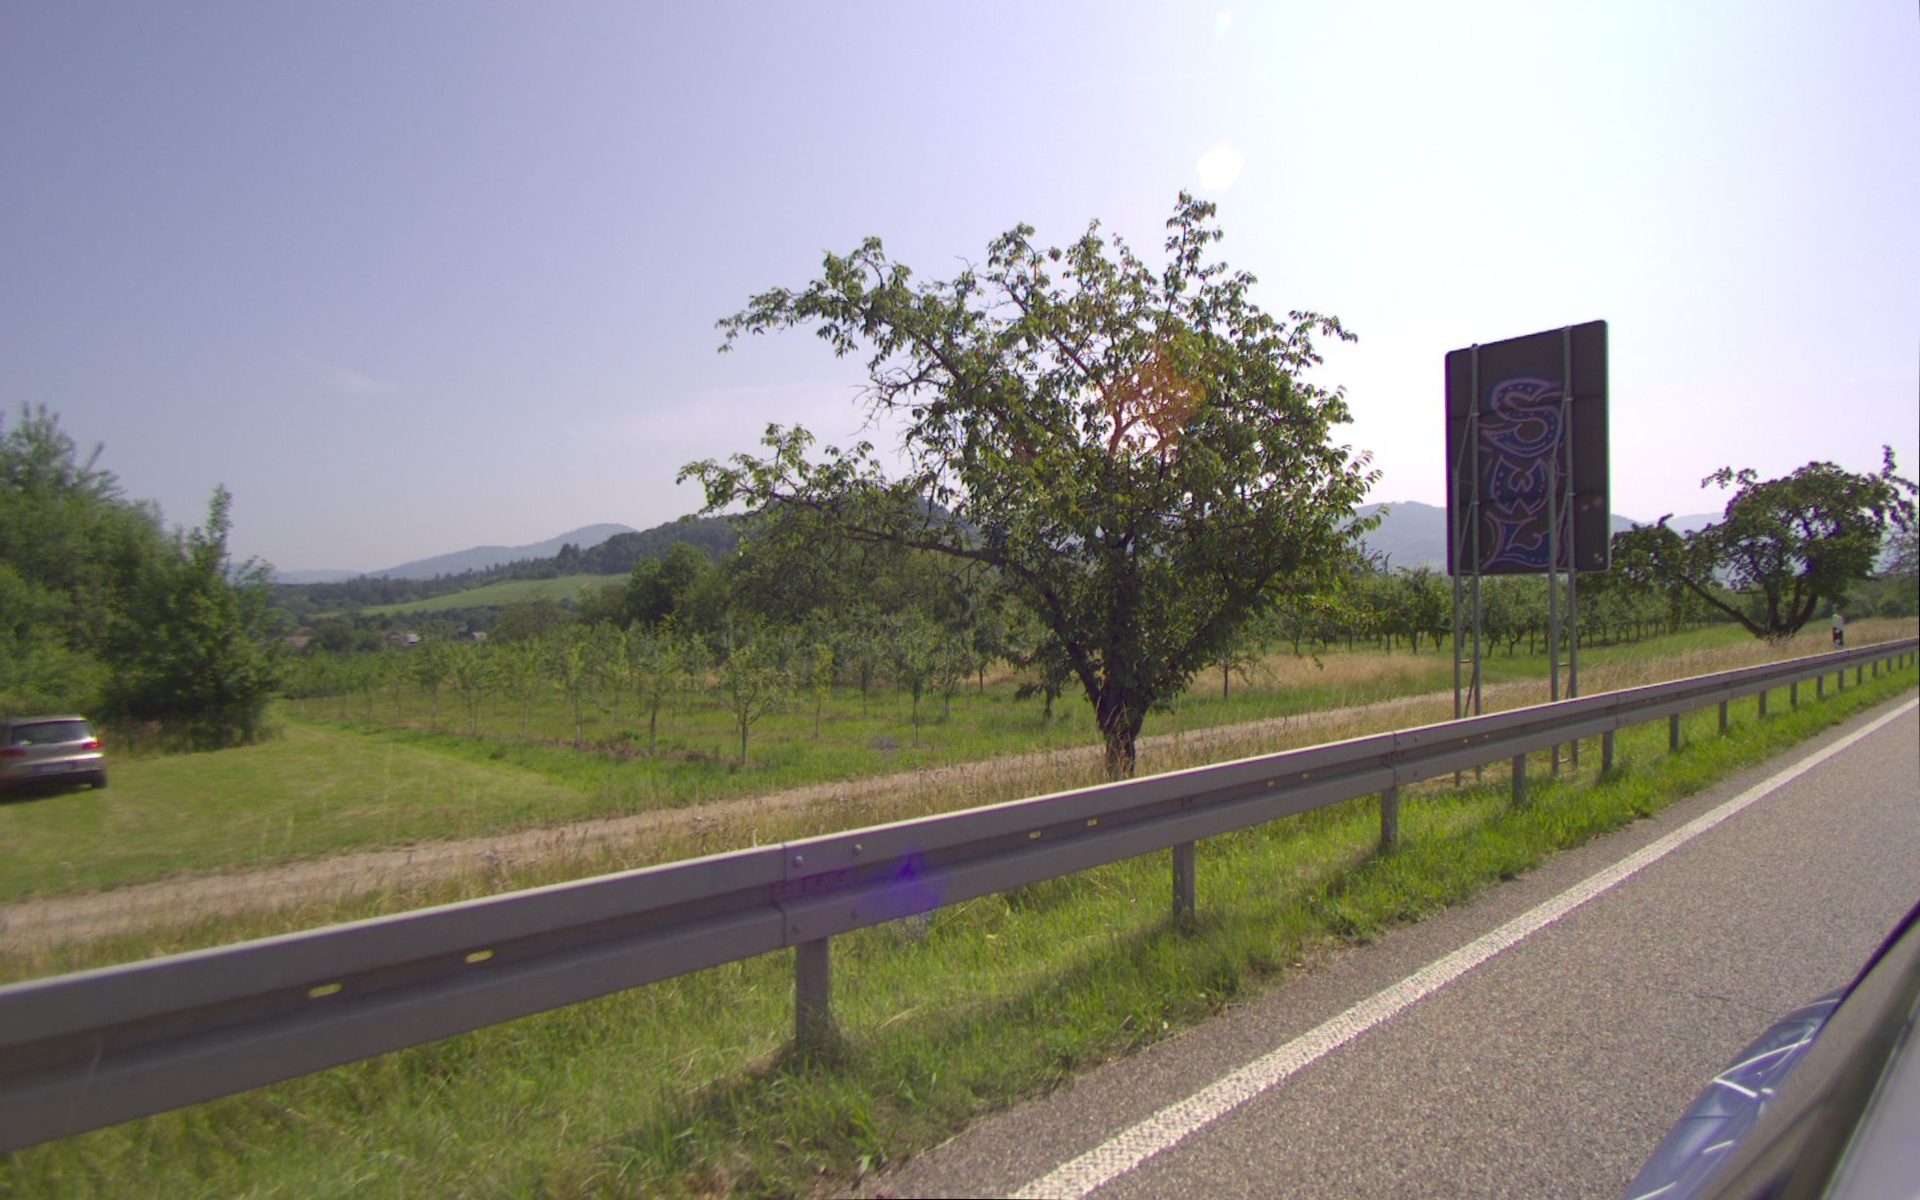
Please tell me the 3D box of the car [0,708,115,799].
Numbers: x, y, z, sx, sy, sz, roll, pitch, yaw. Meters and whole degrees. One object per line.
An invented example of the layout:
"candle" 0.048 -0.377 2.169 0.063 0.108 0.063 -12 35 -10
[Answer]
"car" -19.699 3.192 21.663 4.072 1.554 1.830 -4 -2 41
